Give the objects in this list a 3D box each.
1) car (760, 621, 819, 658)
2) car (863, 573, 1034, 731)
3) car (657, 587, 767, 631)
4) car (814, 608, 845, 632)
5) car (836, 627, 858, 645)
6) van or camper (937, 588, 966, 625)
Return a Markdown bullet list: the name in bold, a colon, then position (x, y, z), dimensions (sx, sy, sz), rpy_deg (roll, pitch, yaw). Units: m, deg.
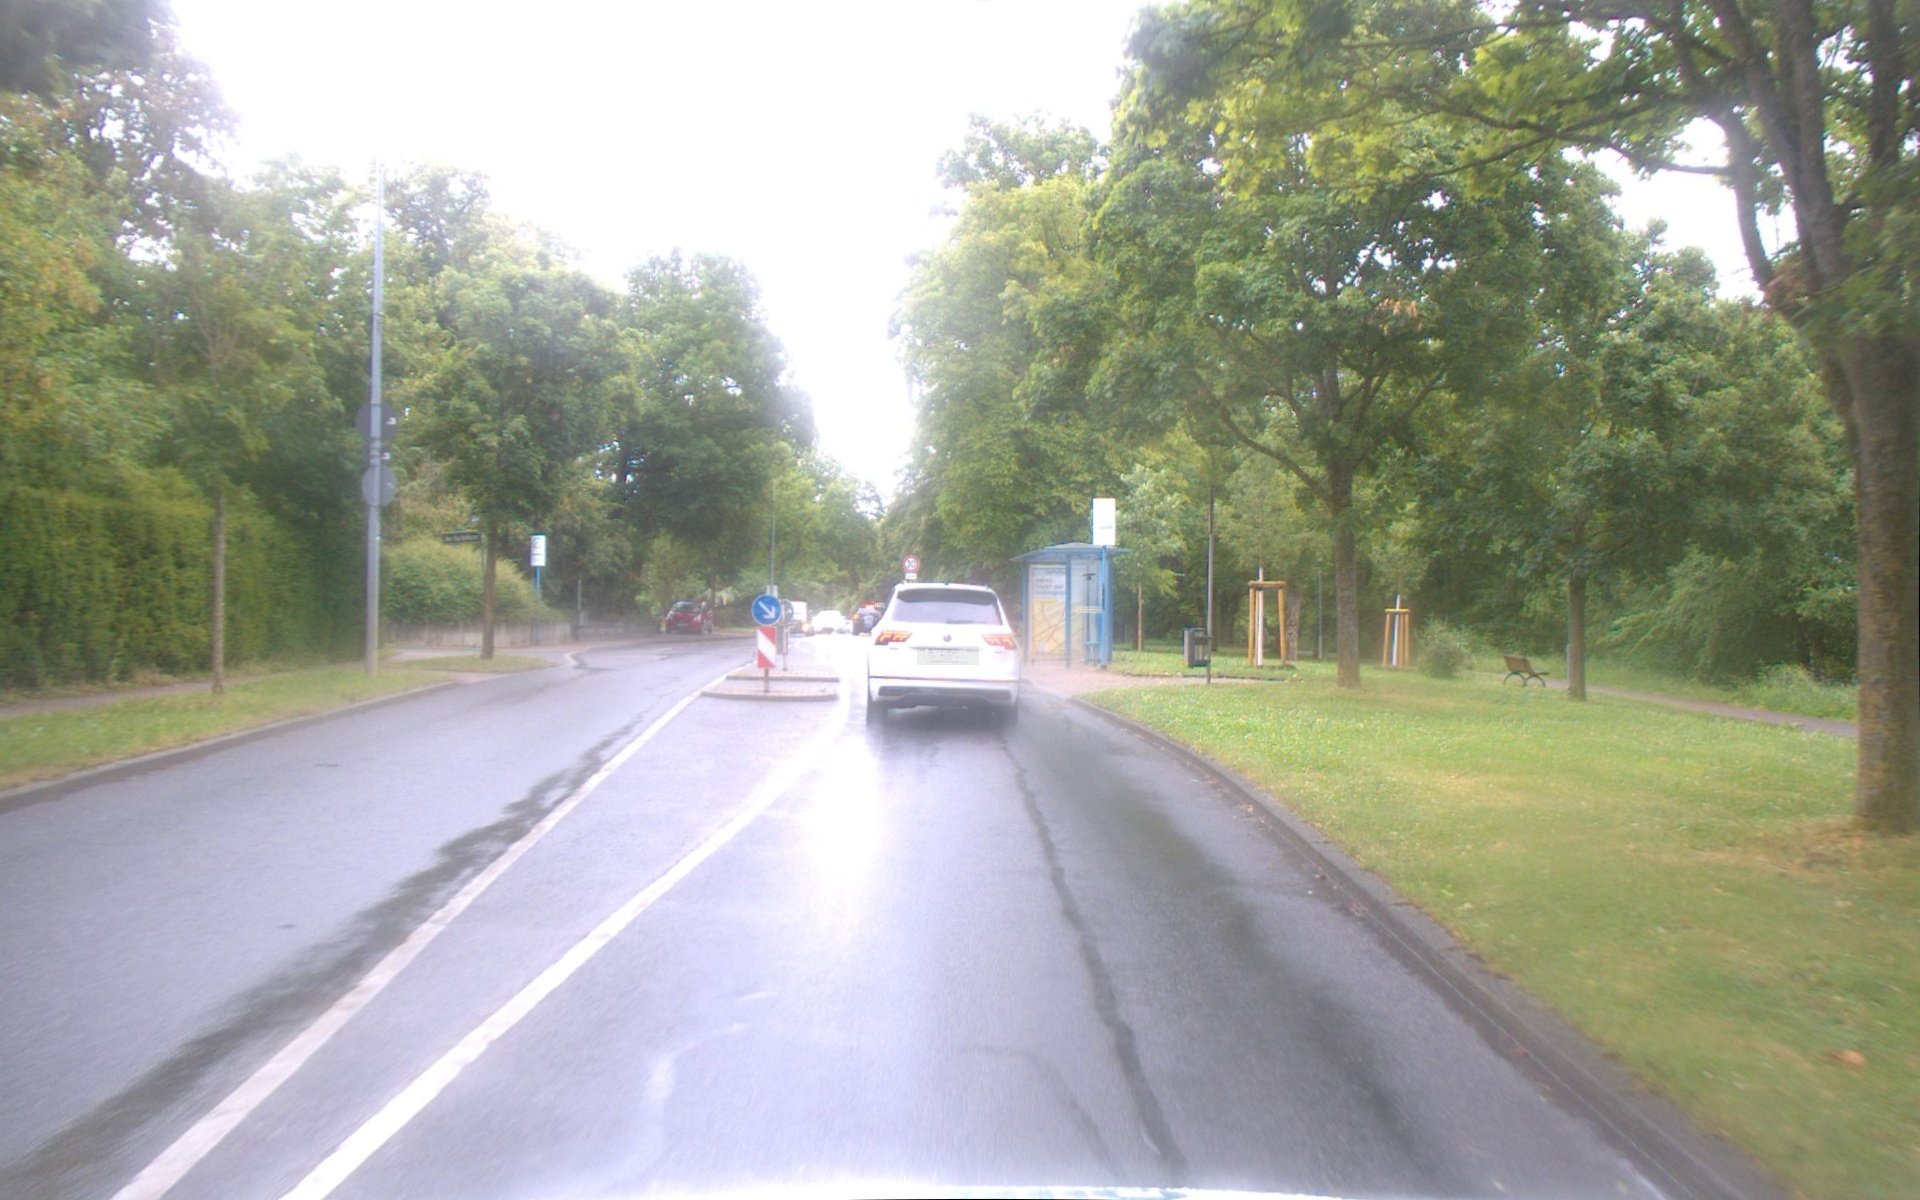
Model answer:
- **car**: position (-7.859, 1.790, 76.046), dimensions (1.962, 1.604, 3.980), rpy_deg (1, 0, -17)
- **car**: position (-0.213, 0.589, 20.579), dimensions (1.867, 1.715, 4.198), rpy_deg (2, 0, -3)
- **car**: position (-13.142, 0.473, 88.151), dimensions (5.634, 2.073, 3.474), rpy_deg (3, -1, -7)
- **car**: position (-8.144, 1.239, 103.271), dimensions (1.754, 1.447, 4.357), rpy_deg (0, 0, -2)
- **car**: position (-9.849, 3.118, 144.313), dimensions (1.666, 1.435, 4.007), rpy_deg (-1, -1, -1)
- **van or camper**: position (-0.633, 0.559, 130.017), dimensions (1.974, 2.628, 8.435), rpy_deg (2, -1, 1)
